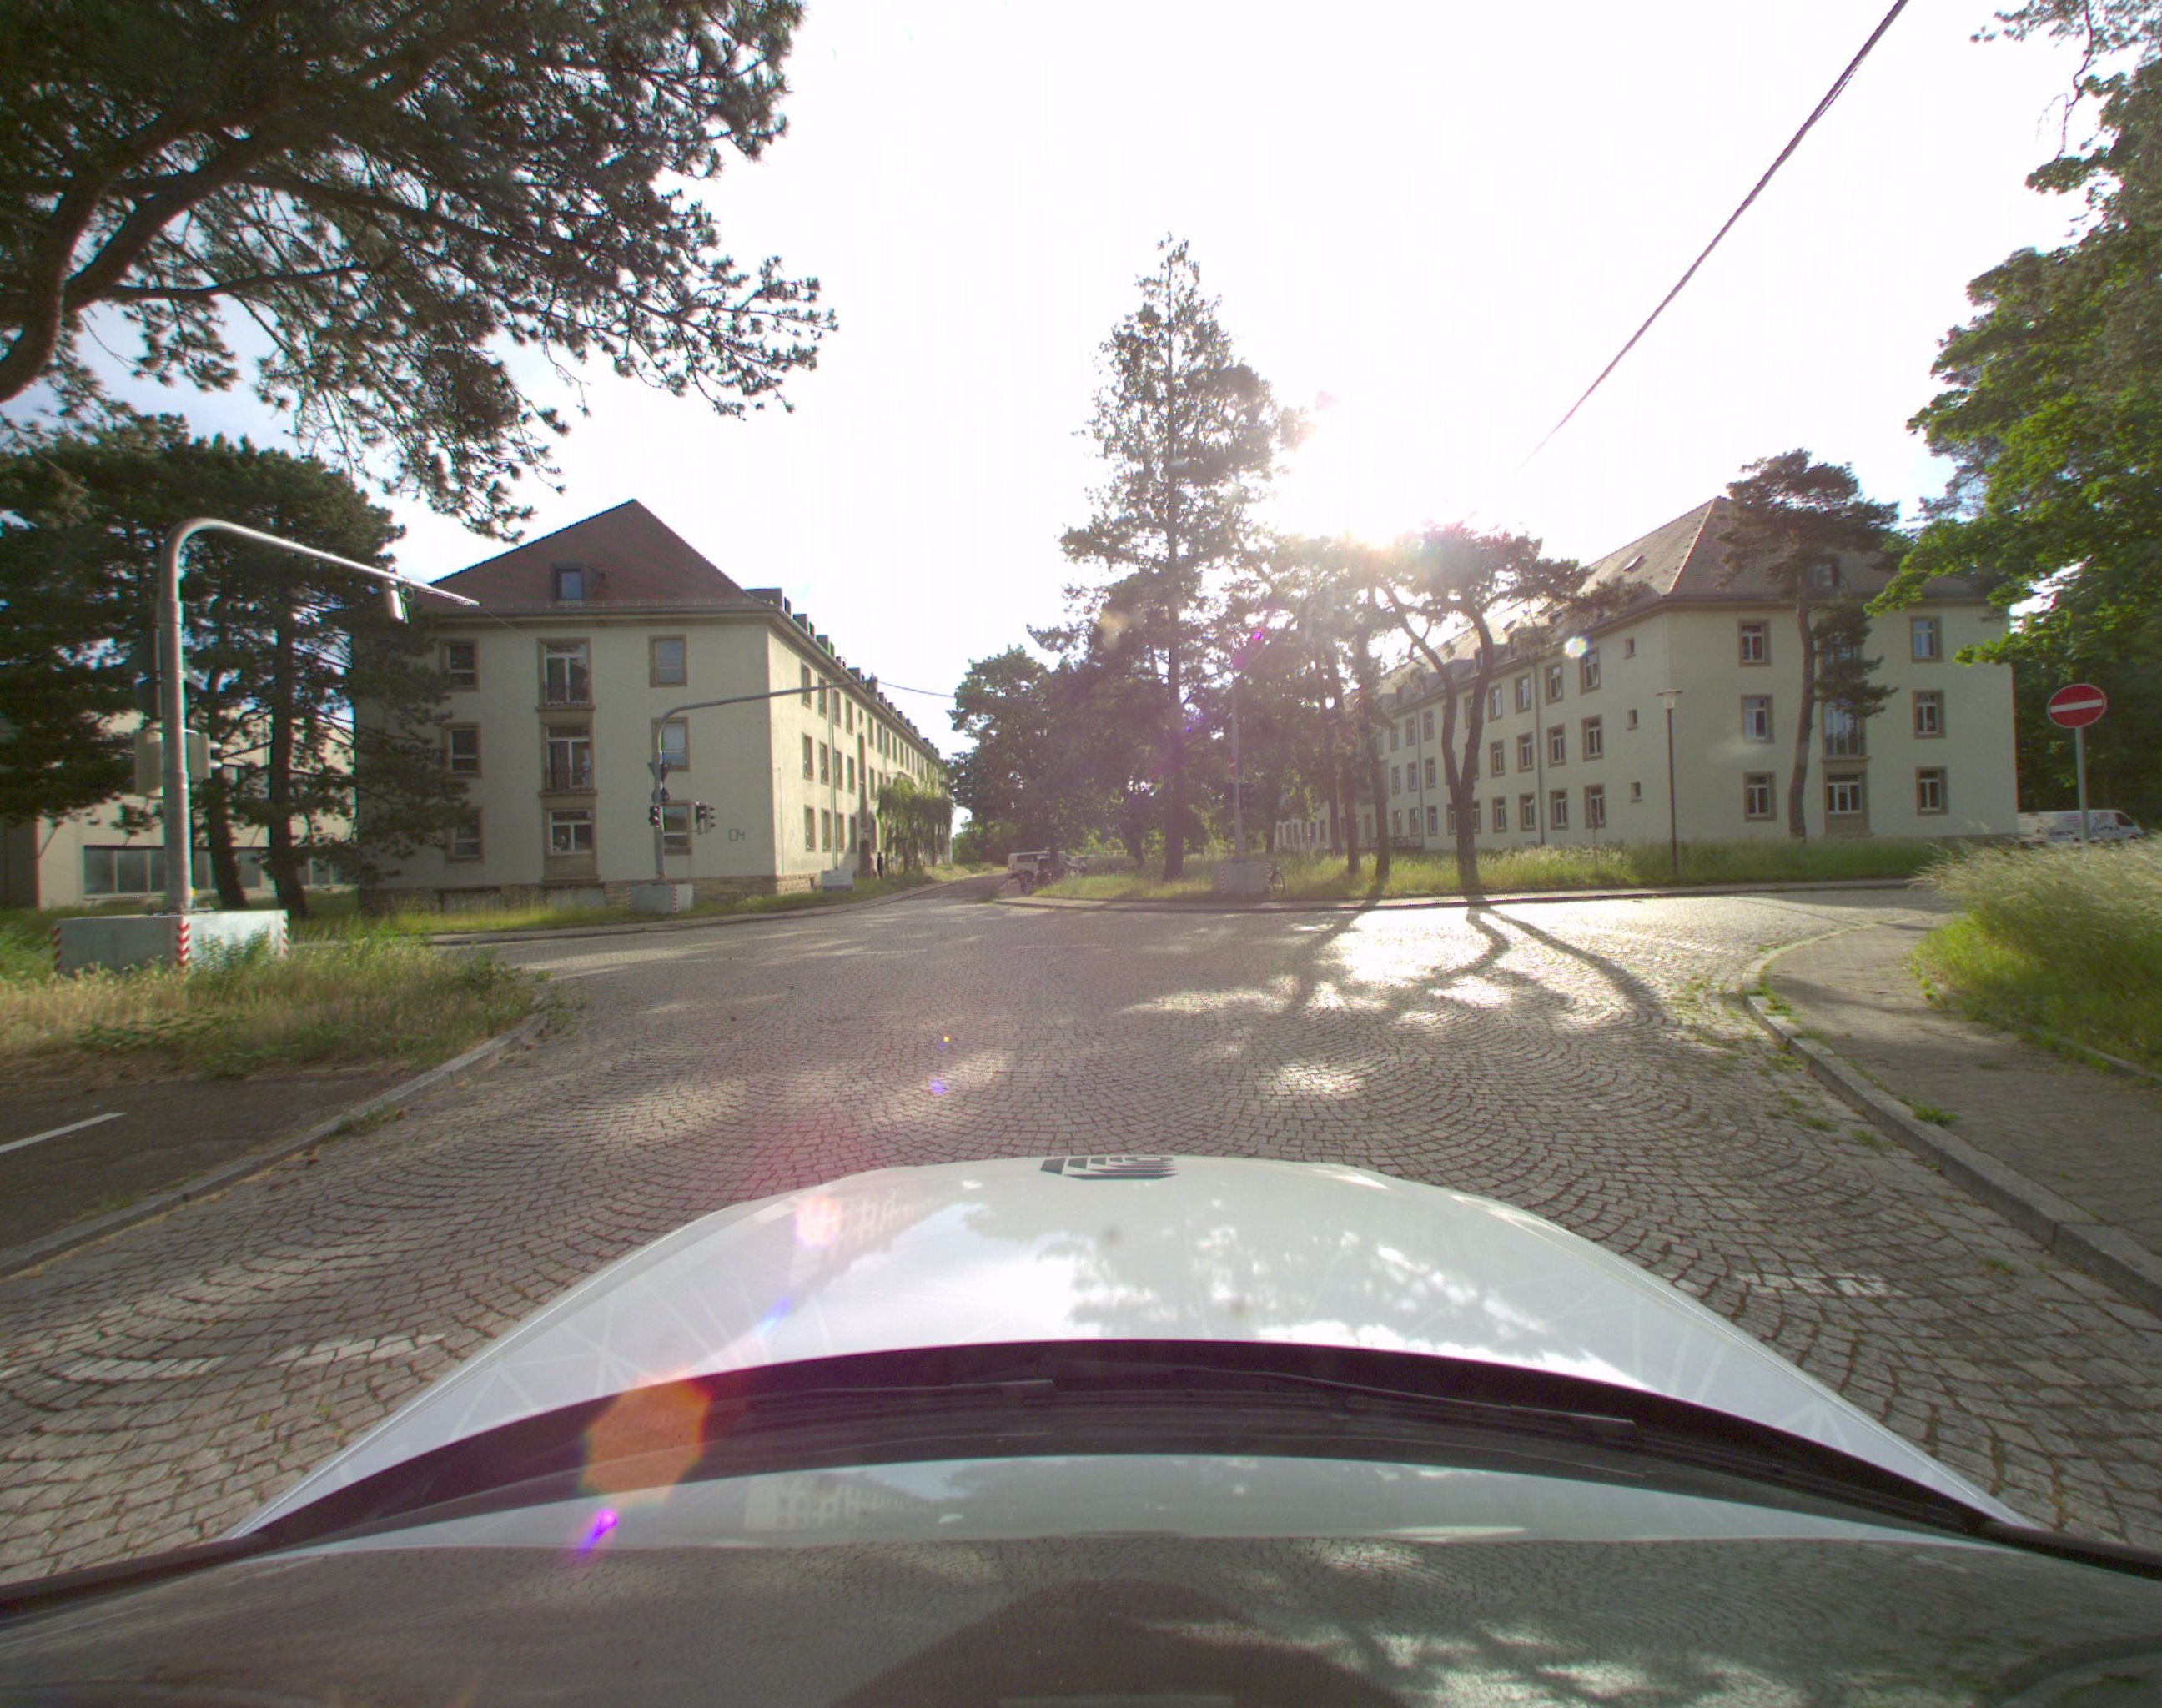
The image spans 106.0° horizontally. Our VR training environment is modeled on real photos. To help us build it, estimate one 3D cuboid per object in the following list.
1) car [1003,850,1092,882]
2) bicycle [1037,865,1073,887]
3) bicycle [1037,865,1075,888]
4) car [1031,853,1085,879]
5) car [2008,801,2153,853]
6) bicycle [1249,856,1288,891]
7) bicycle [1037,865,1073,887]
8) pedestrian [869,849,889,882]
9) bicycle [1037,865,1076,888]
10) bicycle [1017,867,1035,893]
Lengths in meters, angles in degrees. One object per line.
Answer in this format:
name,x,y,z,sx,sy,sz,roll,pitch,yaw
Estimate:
car,-2.275,0.778,54.392,5.514,1.916,2.241,-2,-1,-17
bicycle,-1.318,1.107,41.023,1.789,0.999,0.643,-2,1,-5
bicycle,-1.207,1.088,39.528,1.789,0.999,0.643,-2,1,-5
car,-1.428,0.762,50.877,3.038,1.465,1.711,-2,-1,-16
car,53.890,-1.445,43.978,5.145,2.536,2.262,-2,-1,-2
bicycle,5.690,0.570,24.761,0.562,0.999,1.748,-2,1,-7
bicycle,-1.348,1.115,41.760,1.789,0.999,0.643,-2,1,-5
pedestrian,-12.443,0.690,50.166,0.983,1.963,0.931,-2,-1,-4
bicycle,-1.155,1.074,38.510,1.789,0.999,0.643,-2,1,-5
bicycle,-2.340,1.107,34.842,0.726,0.999,1.797,-2,1,-3
